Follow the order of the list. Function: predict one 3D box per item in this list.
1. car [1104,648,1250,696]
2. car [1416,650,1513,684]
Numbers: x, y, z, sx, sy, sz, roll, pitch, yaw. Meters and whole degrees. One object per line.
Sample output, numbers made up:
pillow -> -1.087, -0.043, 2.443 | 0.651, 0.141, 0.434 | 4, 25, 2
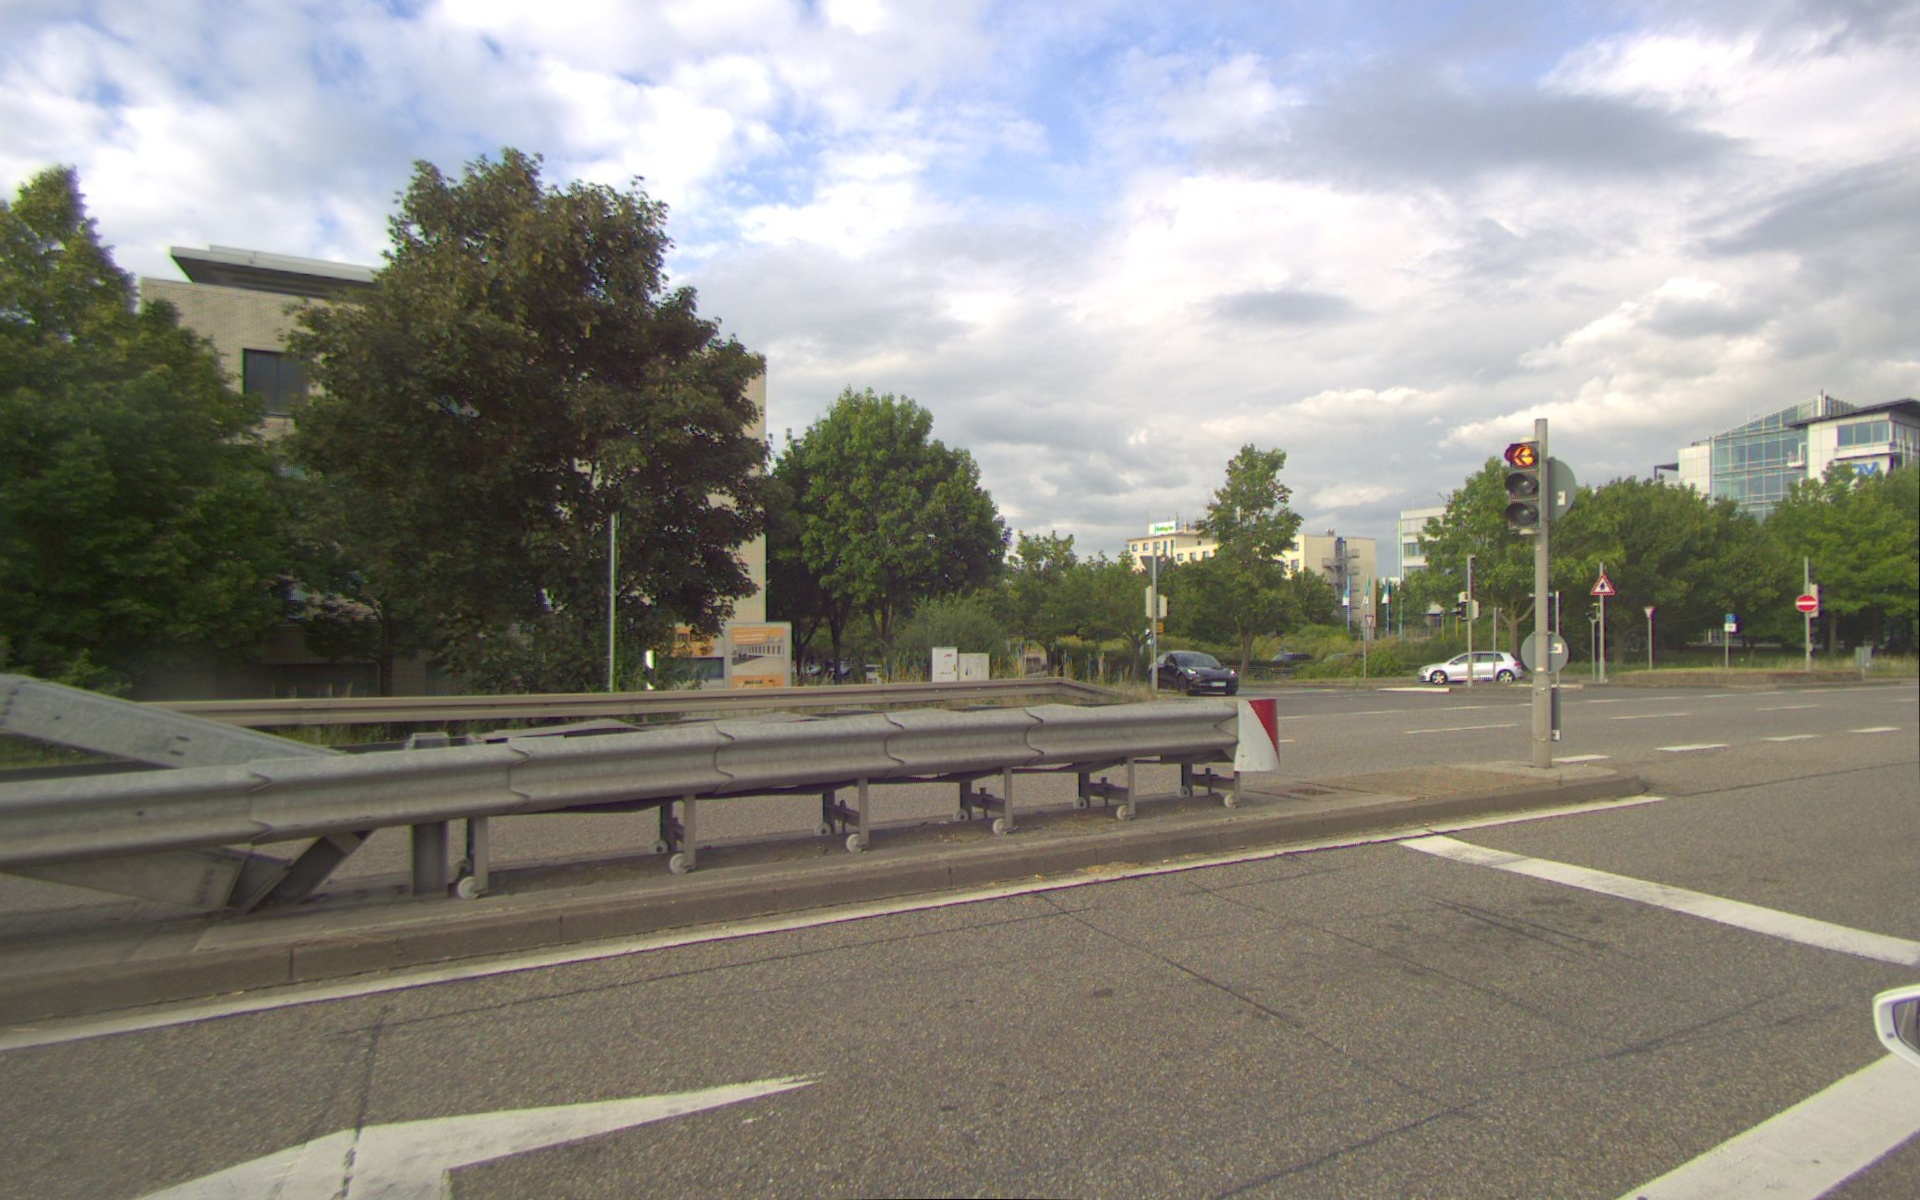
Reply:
car -> 7.095, 2.355, 33.034 | 4.306, 1.475, 1.914 | -2, -5, 39
car -> 22.094, 2.950, 44.135 | 3.680, 1.359, 1.586 | -3, -5, 24
